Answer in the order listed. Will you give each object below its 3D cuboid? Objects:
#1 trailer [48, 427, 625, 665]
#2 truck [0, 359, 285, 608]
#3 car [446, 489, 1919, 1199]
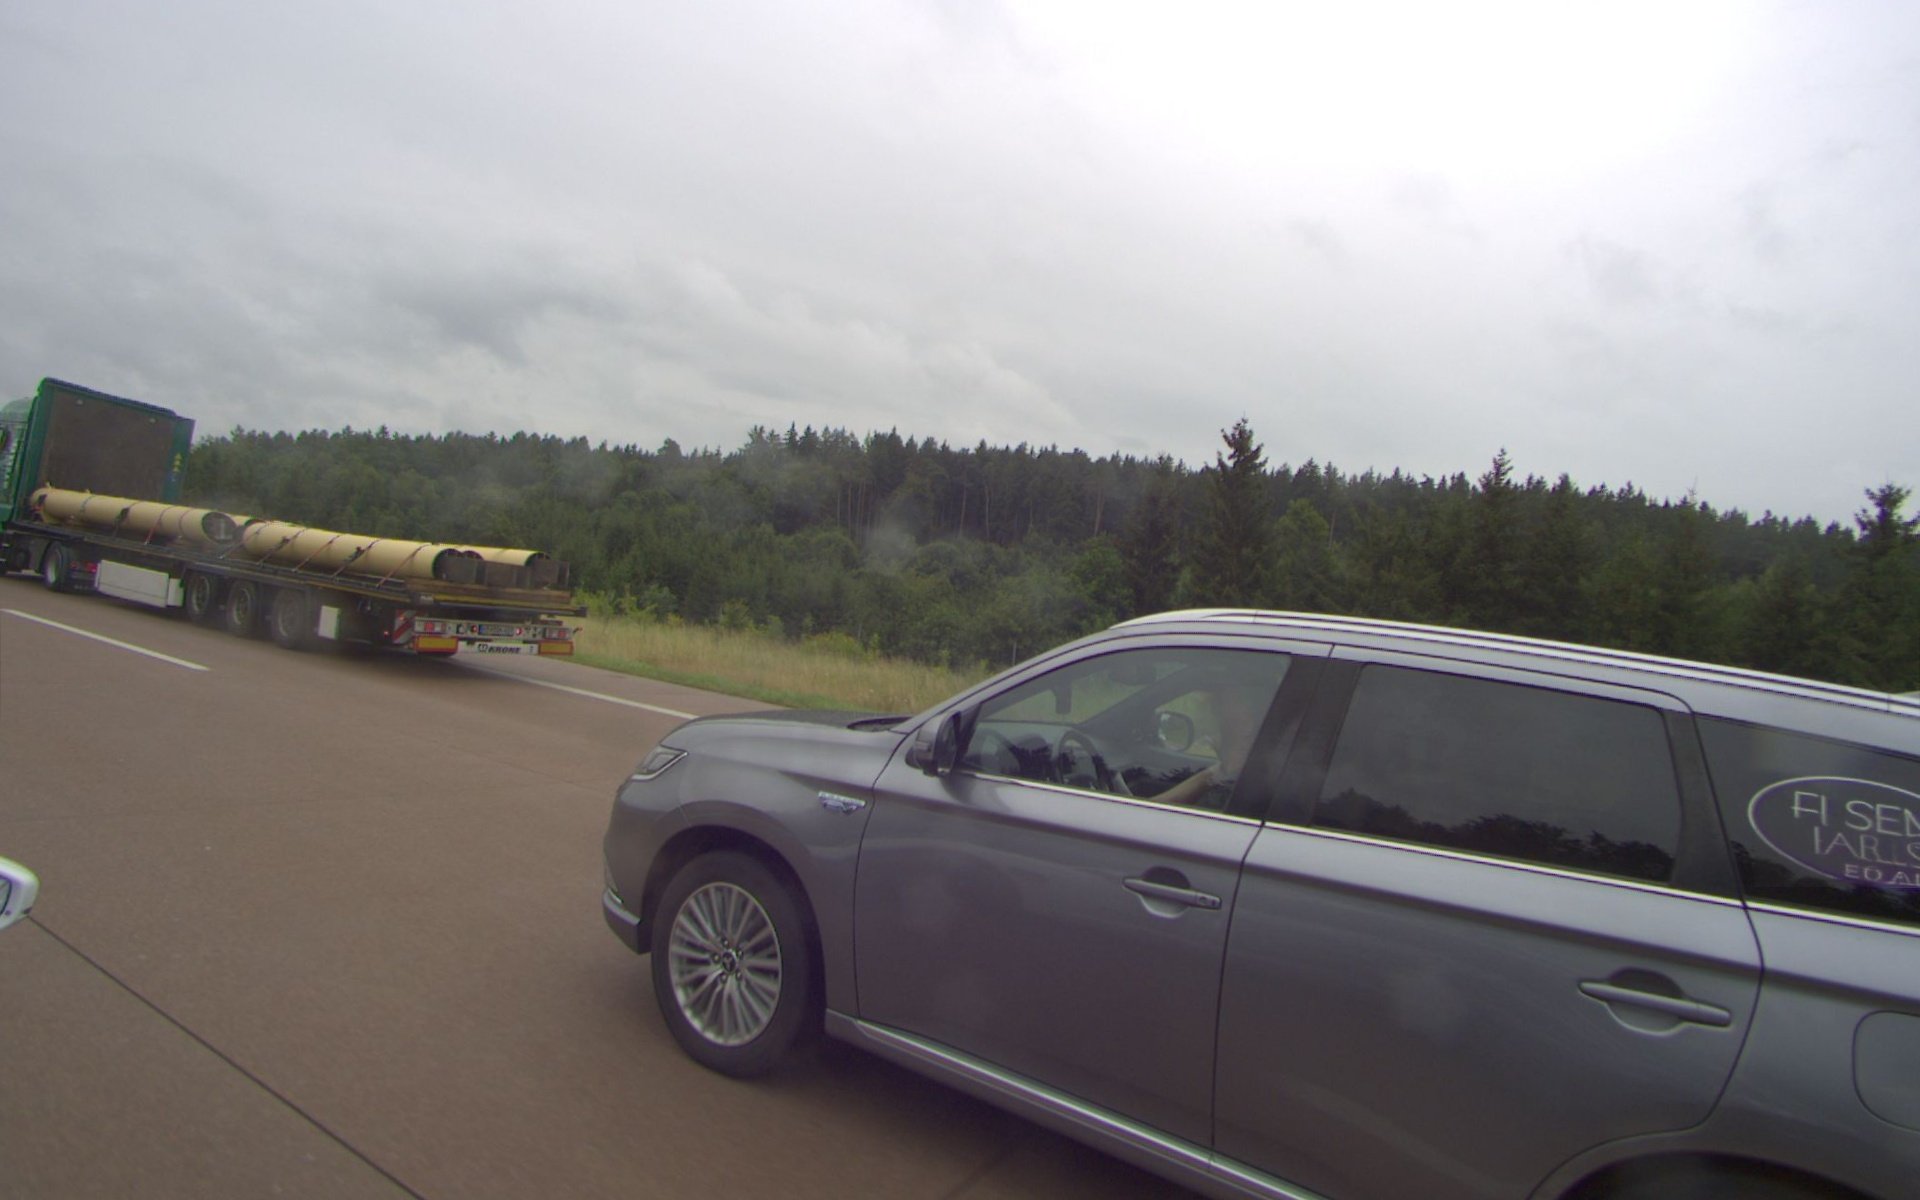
[{"bbox_3d":[-10.433,-0.995,16.063,11.210,2.706,2.887,5,-2,31],"label":"trailer"},{"bbox_3d":[-17.100,-2.253,20.206,6.873,4.010,2.903,5,-2,31],"label":"truck"},{"bbox_3d":[1.080,0.701,3.188,5.724,1.611,1.998,5,-3,31],"label":"car"}]
